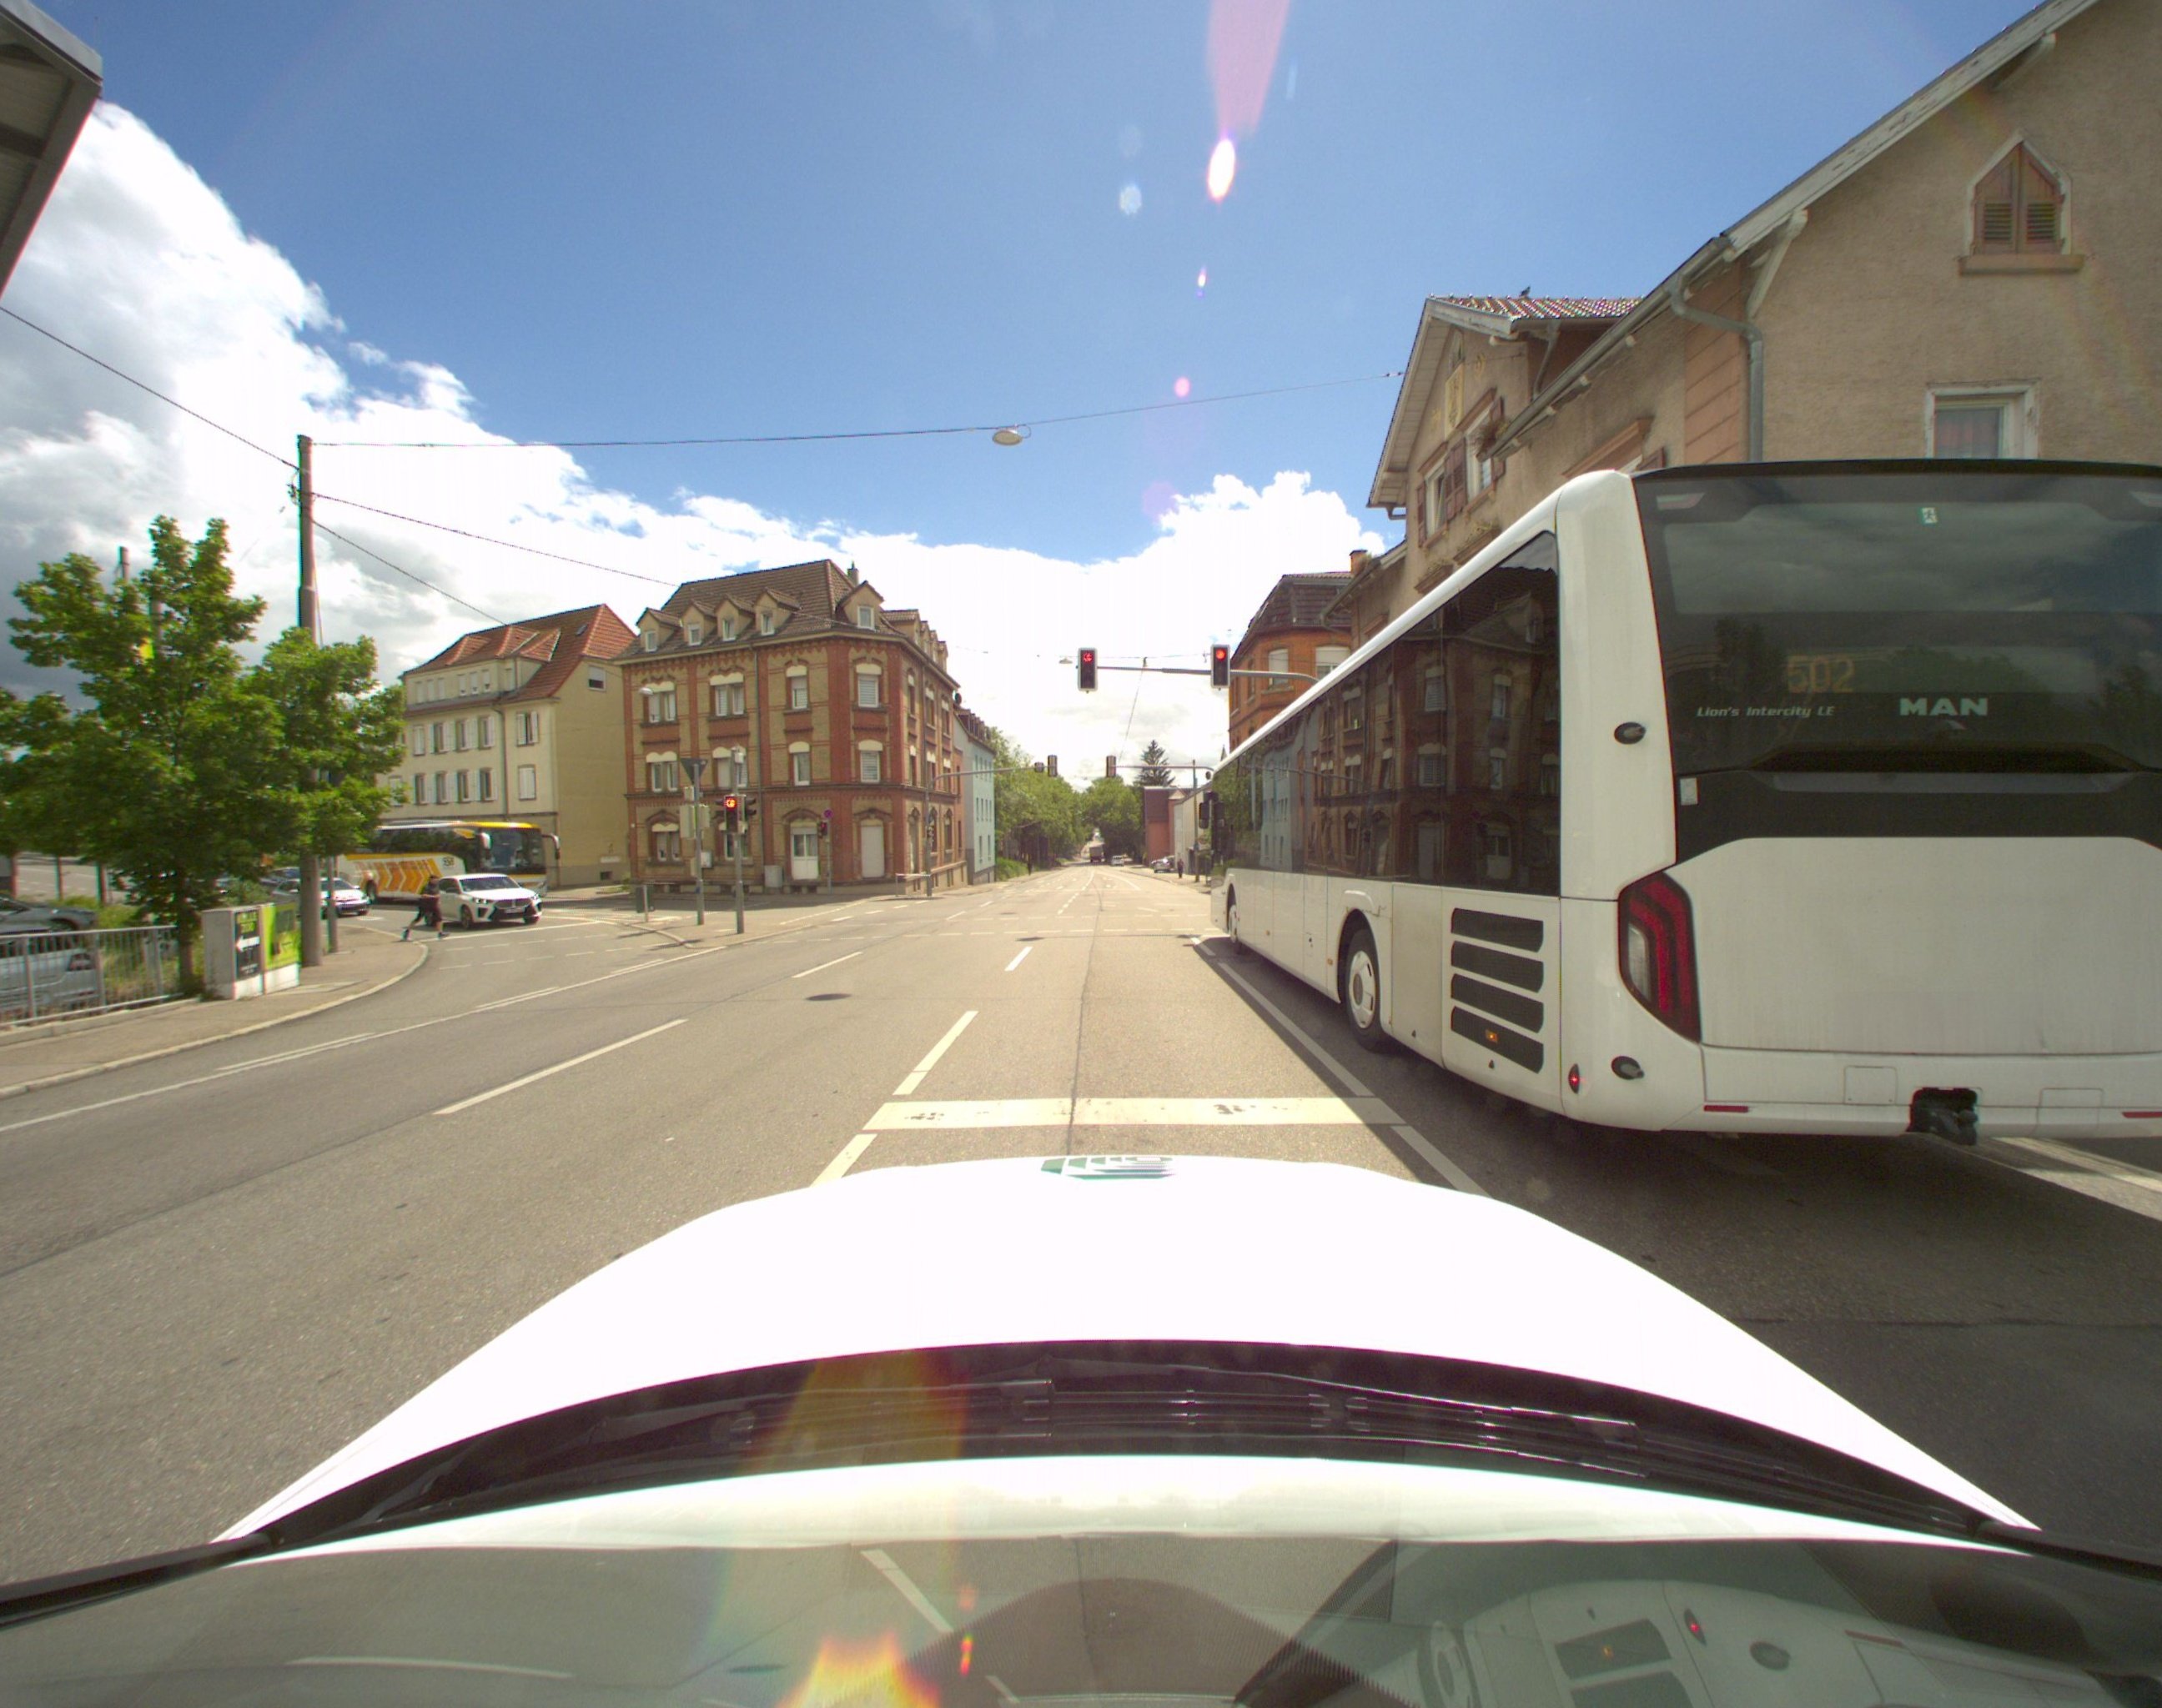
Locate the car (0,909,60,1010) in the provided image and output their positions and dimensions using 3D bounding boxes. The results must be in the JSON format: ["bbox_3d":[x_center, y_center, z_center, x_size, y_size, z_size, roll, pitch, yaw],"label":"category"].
[{"bbox_3d":[-19.513,1.835,14.149,3.455,1.526,1.626,-1,2,29],"label":"car"}]

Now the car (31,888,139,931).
[{"bbox_3d":[-37.403,2.073,30.589,3.456,1.448,1.811,-2,0,26],"label":"car"}]

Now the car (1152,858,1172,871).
[{"bbox_3d":[9.228,1.170,93.021,1.788,1.409,4.000,-2,0,1],"label":"car"}]

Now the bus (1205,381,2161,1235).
[{"bbox_3d":[3.531,-0.163,9.290,2.662,3.155,12.467,-2,0,2],"label":"bus"}]

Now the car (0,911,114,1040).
[{"bbox_3d":[-16.003,1.748,12.053,3.321,1.560,1.692,0,2,32],"label":"car"}]

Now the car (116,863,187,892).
[{"bbox_3d":[-53.756,1.374,47.108,3.949,1.554,1.923,-2,0,29],"label":"car"}]

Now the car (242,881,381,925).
[{"bbox_3d":[-27.947,1.756,29.629,3.585,1.418,1.890,-2,0,11],"label":"car"}]

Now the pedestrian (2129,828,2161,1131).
[{"bbox_3d":[5.961,0.631,3.915,0.856,1.562,0.712,-2,-1,1],"label":"pedestrian"}]

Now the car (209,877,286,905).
[{"bbox_3d":[-45.723,2.022,44.654,3.949,1.409,1.923,-2,0,29],"label":"car"}]

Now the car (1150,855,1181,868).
[{"bbox_3d":[11.775,1.038,113.077,3.978,1.757,1.998,-2,0,-3],"label":"car"}]

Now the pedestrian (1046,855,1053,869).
[{"bbox_3d":[-4.600,1.186,118.836,0.991,2.013,1.189,-2,0,1],"label":"pedestrian"}]

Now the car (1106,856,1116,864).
[{"bbox_3d":[5.748,1.117,154.018,1.787,1.409,4.421,-1,0,3],"label":"car"}]

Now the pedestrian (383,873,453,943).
[{"bbox_3d":[-17.193,1.384,21.143,1.138,1.734,0.758,-2,0,-3],"label":"pedestrian"}]

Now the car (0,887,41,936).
[{"bbox_3d":[-36.312,1.898,25.668,1.785,1.553,4.023,-2,0,25],"label":"car"}]

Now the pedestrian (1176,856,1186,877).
[{"bbox_3d":[8.319,1.035,67.755,0.736,1.750,0.619,-2,0,1],"label":"pedestrian"}]

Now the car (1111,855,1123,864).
[{"bbox_3d":[5.760,0.944,129.662,1.787,1.409,4.001,-1,0,2],"label":"car"}]

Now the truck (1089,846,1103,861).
[{"bbox_3d":[3.278,-0.100,183.427,2.917,3.081,7.883,-2,0,0],"label":"truck"}]

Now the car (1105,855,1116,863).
[{"bbox_3d":[5.322,0.985,146.556,1.787,1.409,4.421,-1,0,3],"label":"car"}]

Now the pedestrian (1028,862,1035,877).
[{"bbox_3d":[-5.403,1.670,89.186,0.727,1.565,0.561,-1,-1,0],"label":"pedestrian"}]

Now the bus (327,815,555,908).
[{"bbox_3d":[-28.165,0.412,35.582,12.110,3.622,2.788,-1,0,26],"label":"bus"}]

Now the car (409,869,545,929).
[{"bbox_3d":[-18.534,1.395,24.960,4.250,1.552,1.845,-4,-1,32],"label":"car"}]

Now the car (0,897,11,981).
[{"bbox_3d":[-23.548,1.756,16.550,3.455,1.680,1.663,-1,2,30],"label":"car"}]

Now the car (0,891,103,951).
[{"bbox_3d":[-29.458,1.849,22.090,1.777,1.477,3.522,-2,0,32],"label":"car"}]
